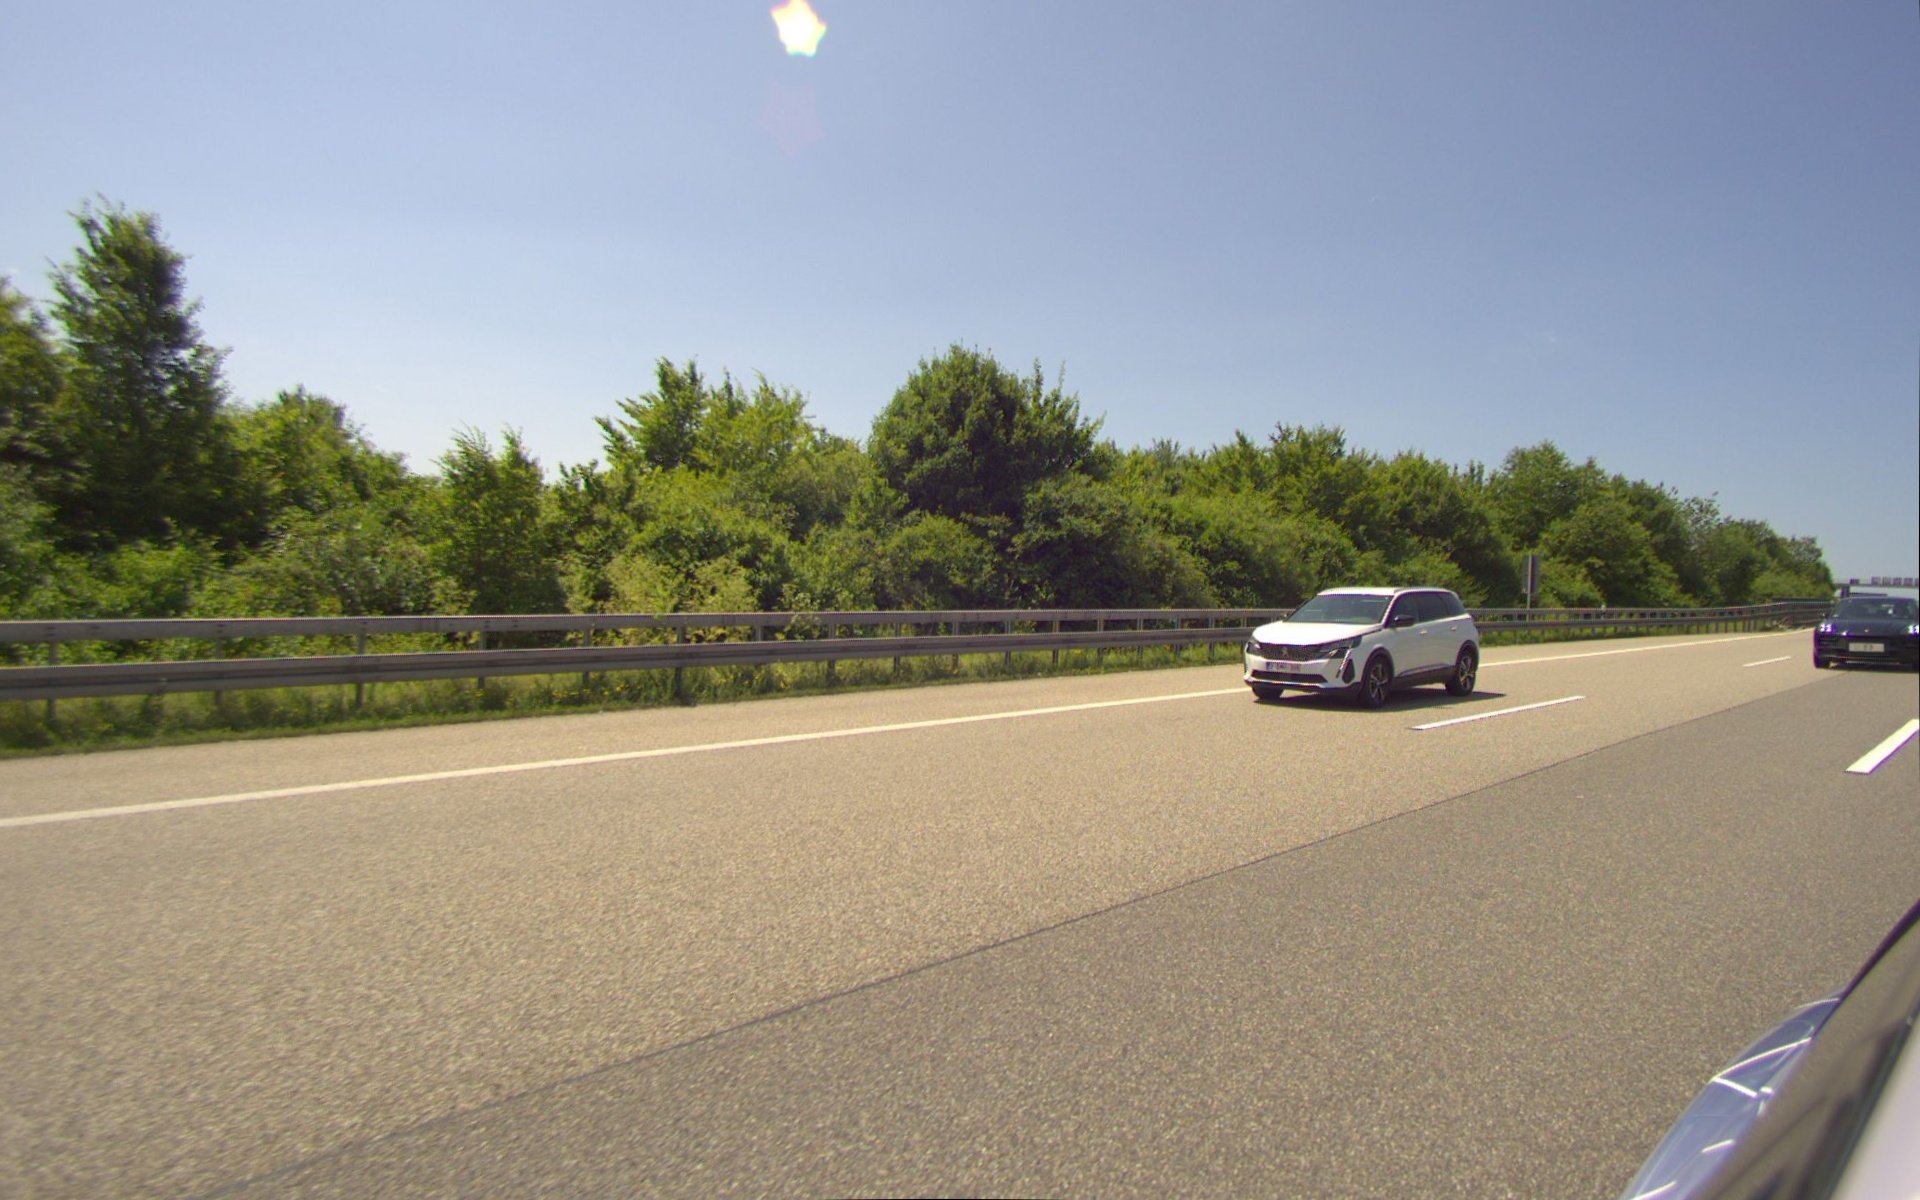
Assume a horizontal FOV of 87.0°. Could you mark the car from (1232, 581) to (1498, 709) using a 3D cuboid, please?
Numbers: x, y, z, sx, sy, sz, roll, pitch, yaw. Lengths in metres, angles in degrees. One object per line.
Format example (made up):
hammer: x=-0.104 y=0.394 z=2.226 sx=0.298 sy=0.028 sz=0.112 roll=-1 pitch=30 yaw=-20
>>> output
car: x=6.043 y=0.536 z=14.826 sx=4.539 sy=1.611 sz=1.746 roll=-1 pitch=0 yaw=-41

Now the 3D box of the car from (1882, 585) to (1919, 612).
car: x=71.275 y=-0.131 z=76.643 sx=4.224 sy=1.943 sz=1.805 roll=-1 pitch=0 yaw=-44

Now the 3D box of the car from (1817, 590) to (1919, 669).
car: x=20.906 y=0.596 z=22.732 sx=4.060 sy=1.615 sz=1.930 roll=-1 pitch=0 yaw=-41
